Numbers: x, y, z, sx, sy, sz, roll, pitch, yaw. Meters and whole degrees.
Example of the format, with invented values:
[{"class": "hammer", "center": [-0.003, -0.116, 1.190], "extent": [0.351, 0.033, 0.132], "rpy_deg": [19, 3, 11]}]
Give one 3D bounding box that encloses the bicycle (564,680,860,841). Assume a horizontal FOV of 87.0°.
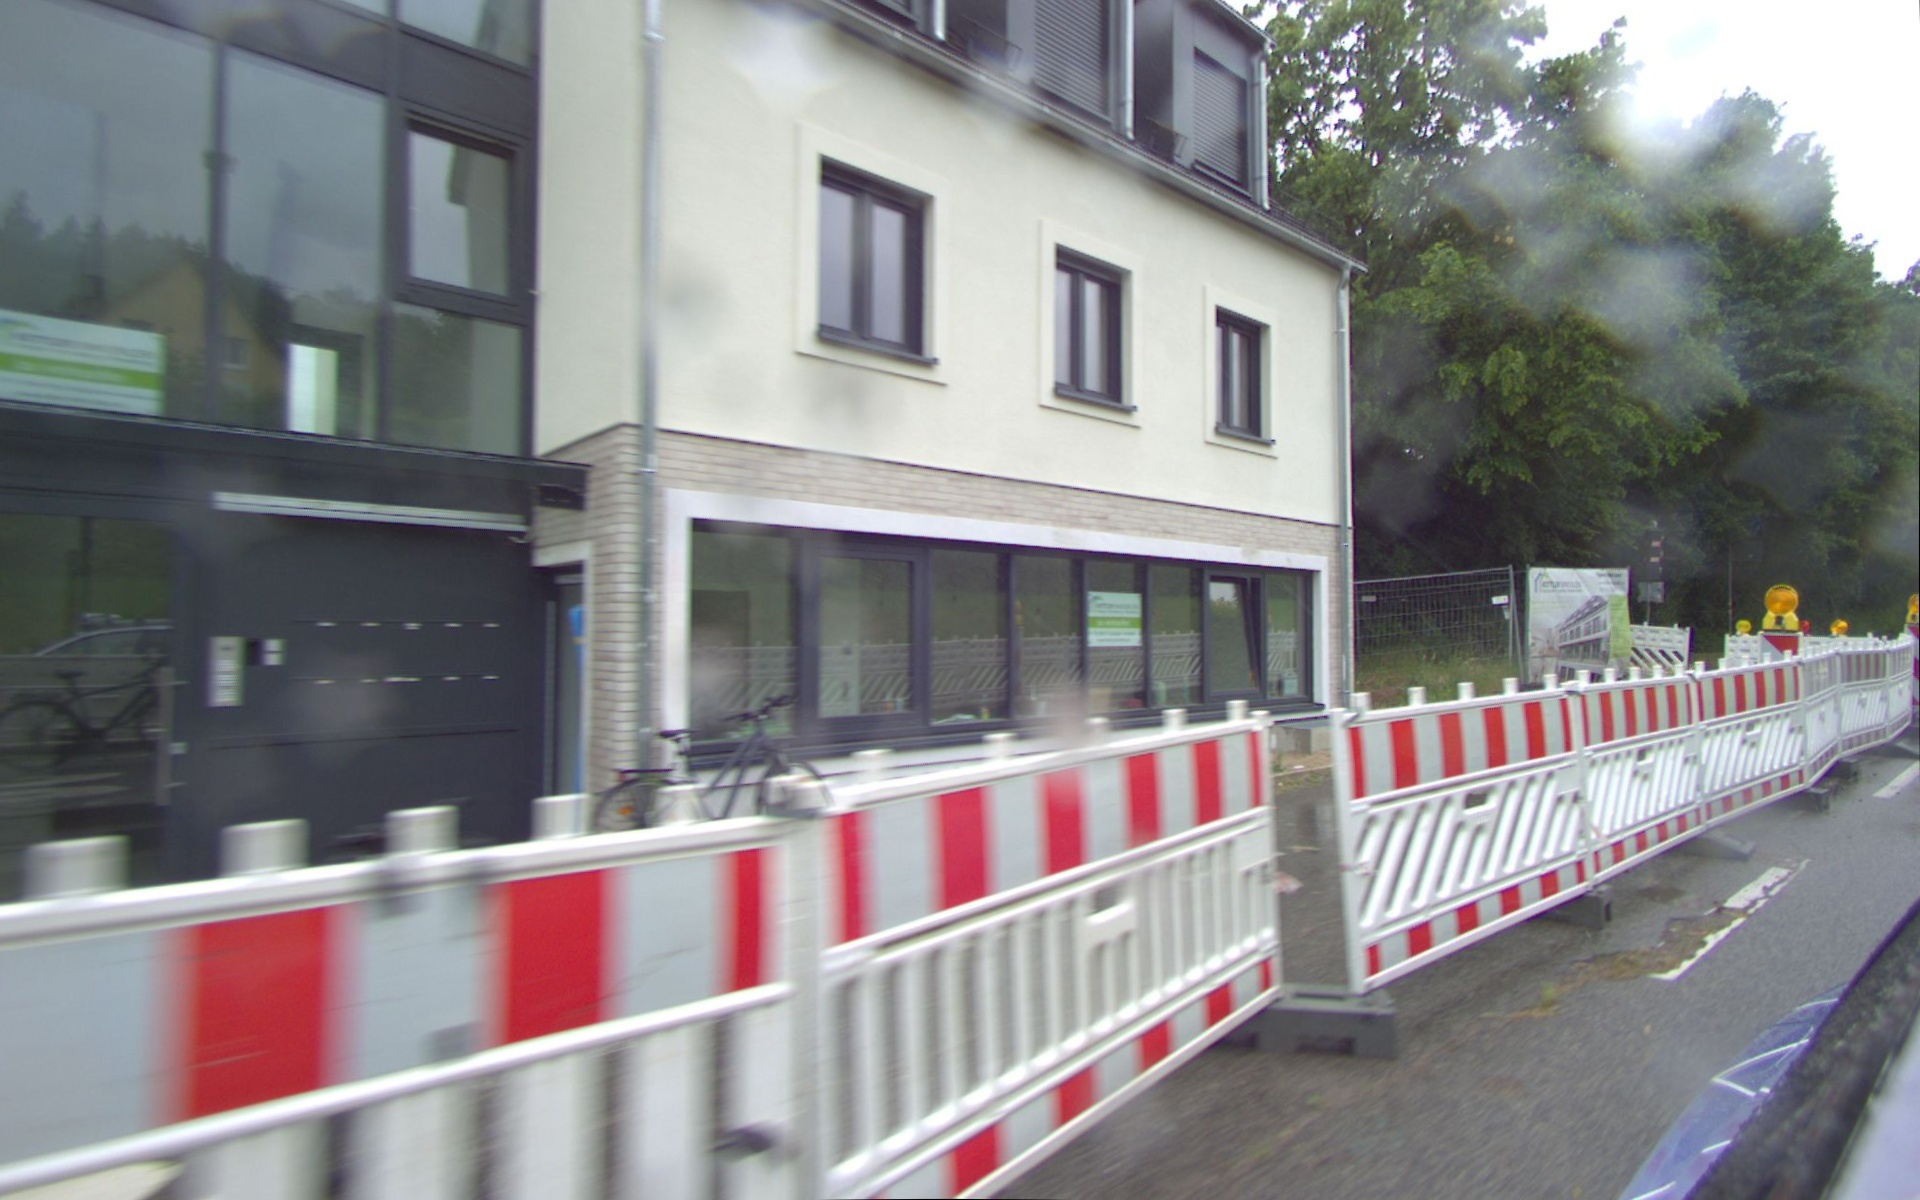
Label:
[{"class": "bicycle", "center": [-1.451, 0.916, 6.150], "extent": [1.711, 0.705, 0.497], "rpy_deg": [0, 4, -44]}]
